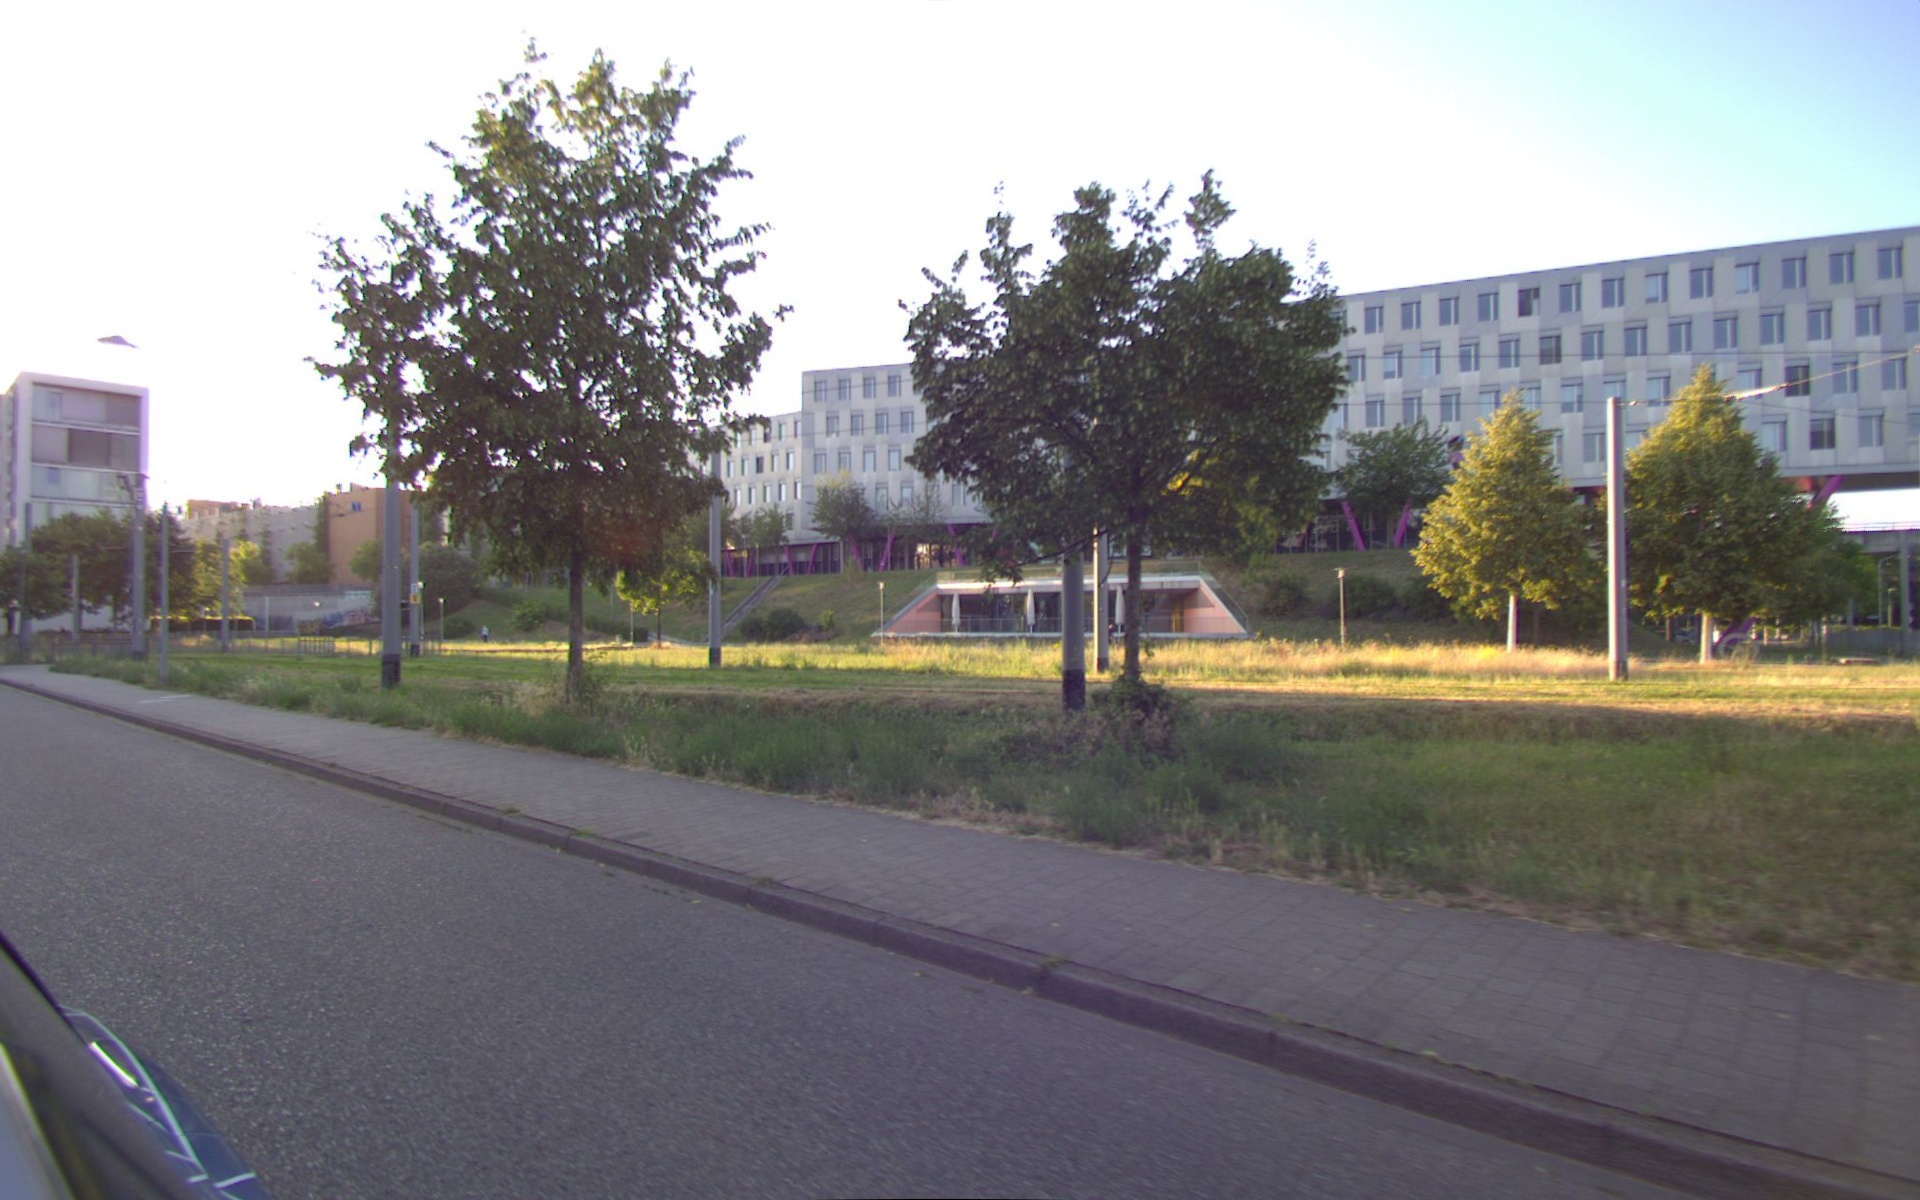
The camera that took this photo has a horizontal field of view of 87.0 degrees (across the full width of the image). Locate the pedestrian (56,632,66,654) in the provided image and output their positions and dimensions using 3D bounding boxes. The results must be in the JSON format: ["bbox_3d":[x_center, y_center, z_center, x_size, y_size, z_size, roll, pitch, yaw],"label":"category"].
[{"bbox_3d":[-79.358,3.793,89.345,0.480,1.850,0.446,-2,0,20],"label":"pedestrian"}]

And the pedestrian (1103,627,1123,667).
[{"bbox_3d":[8.119,2.491,53.658,0.790,2.098,0.610,-2,0,40],"label":"pedestrian"}]

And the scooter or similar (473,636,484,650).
[{"bbox_3d":[-44.554,3.933,93.561,0.790,1.253,0.610,-2,0,40],"label":"scooter or similar"}]

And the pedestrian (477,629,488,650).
[{"bbox_3d":[-43.739,3.620,92.689,0.790,1.850,0.610,-2,0,40],"label":"pedestrian"}]
